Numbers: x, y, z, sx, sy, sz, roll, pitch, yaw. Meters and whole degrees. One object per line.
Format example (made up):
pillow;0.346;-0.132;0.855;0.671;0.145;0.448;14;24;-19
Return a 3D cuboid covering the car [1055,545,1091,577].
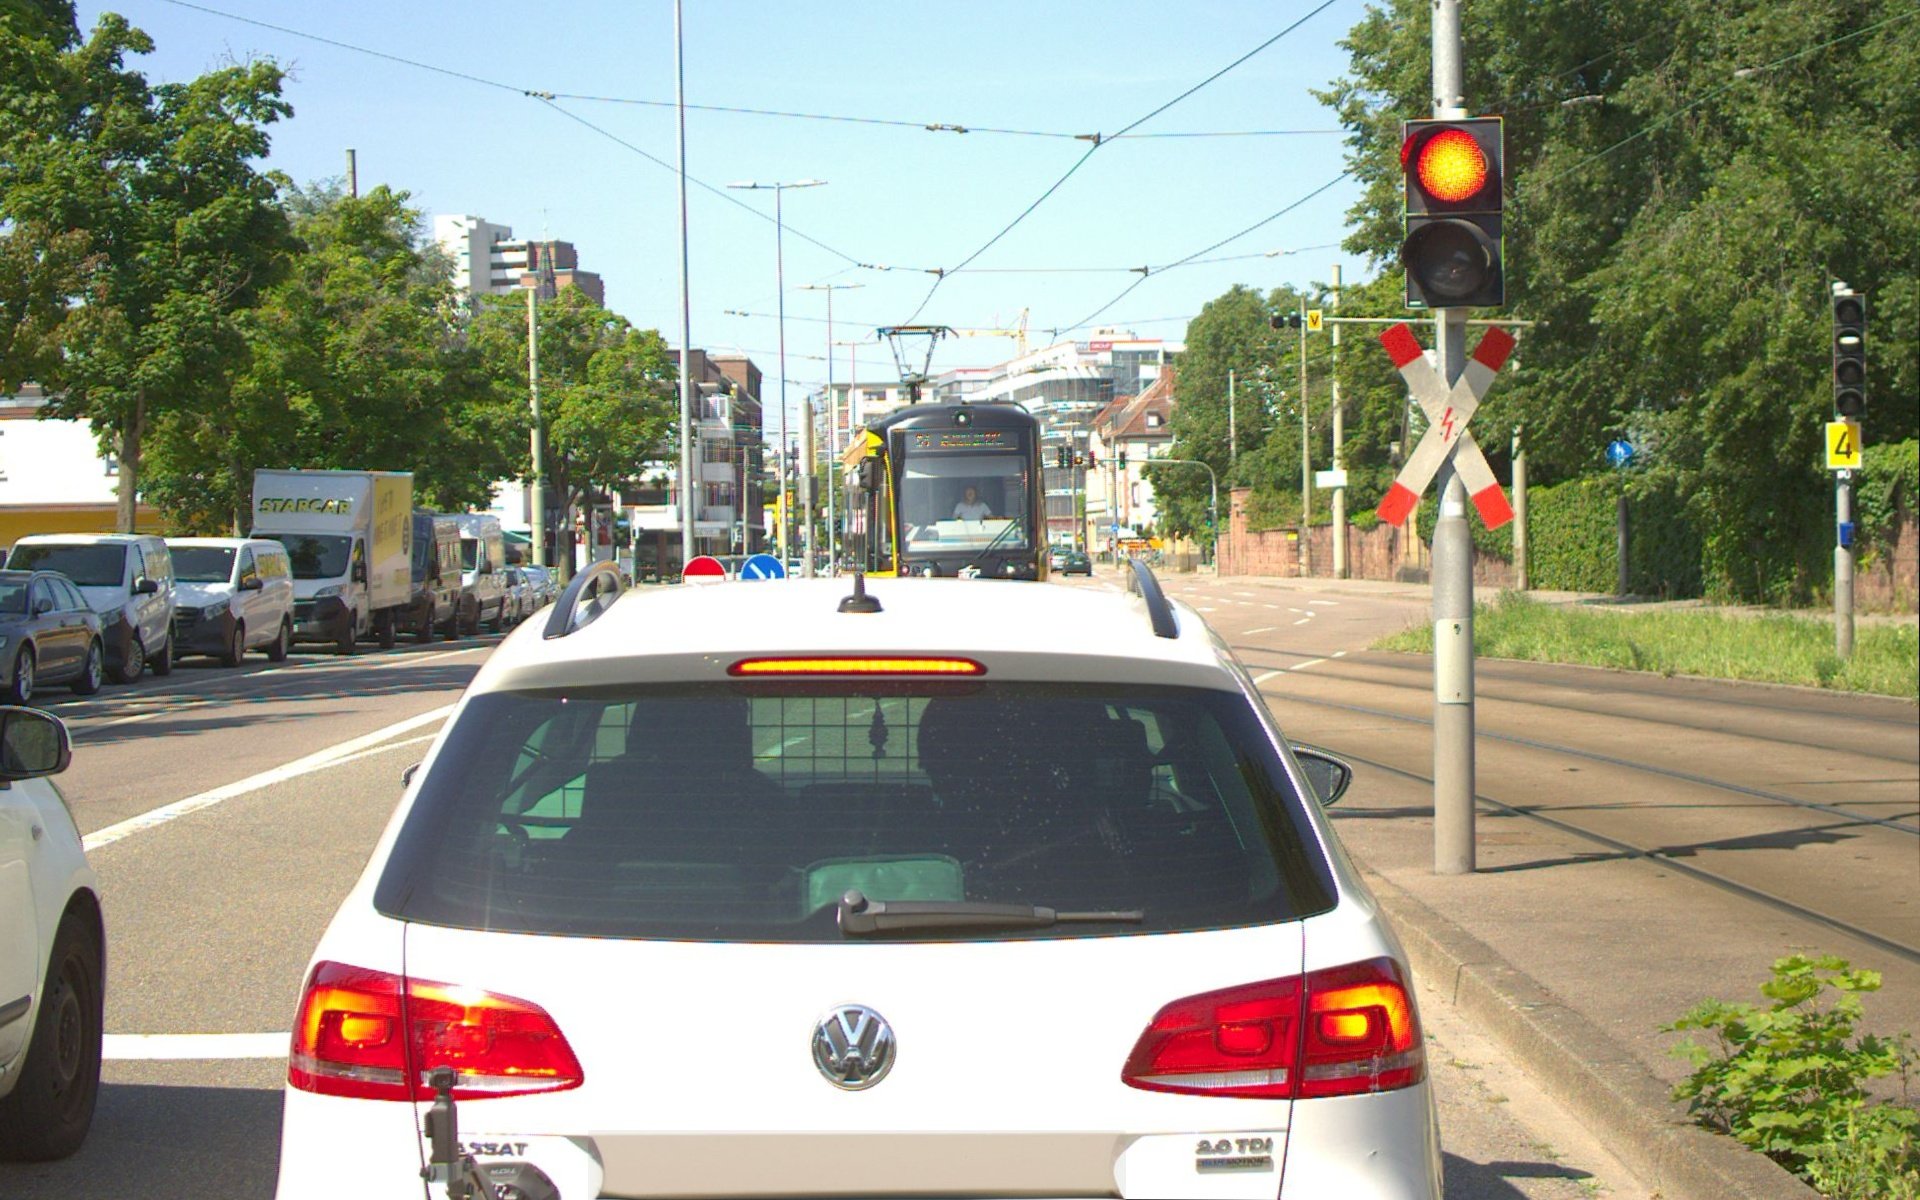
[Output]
car;6.763;-2.358;206.626;1.863;1.861;5.062;1;1;-1

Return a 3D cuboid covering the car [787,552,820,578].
car;-9.463;-2.119;207.717;1.705;1.468;4.589;-1;1;1

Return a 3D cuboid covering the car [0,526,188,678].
car;-11.447;-0.028;45.316;1.863;1.861;5.075;1;1;-6

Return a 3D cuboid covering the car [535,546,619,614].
car;-10.962;-0.601;98.603;1.863;1.861;5.414;1;1;-1

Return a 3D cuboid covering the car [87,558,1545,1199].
car;-0.188;0.673;6.207;1.762;1.425;4.000;-1;1;-1

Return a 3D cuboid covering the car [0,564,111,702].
car;-11.011;0.329;38.746;1.863;1.411;4.280;1;1;-1

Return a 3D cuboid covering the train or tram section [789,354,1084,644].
train or tram section;-0.608;-1.471;52.576;2.870;3.842;12.395;-1;1;-8

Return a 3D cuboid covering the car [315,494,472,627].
car;-11.199;-0.805;68.318;2.123;2.508;5.733;1;1;0

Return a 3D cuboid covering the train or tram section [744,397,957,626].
train or tram section;-2.242;-1.621;64.726;2.870;3.842;12.394;-1;1;-7

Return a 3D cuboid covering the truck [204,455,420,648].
truck;-11.254;-0.867;60.317;2.421;3.139;6.997;1;1;0

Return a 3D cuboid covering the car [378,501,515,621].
car;-11.259;-0.878;75.755;2.123;2.508;5.733;1;1;0

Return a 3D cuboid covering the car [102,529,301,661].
car;-11.381;-0.123;51.903;1.863;1.861;5.414;1;1;-1

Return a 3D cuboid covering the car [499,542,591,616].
car;-11.038;-0.587;91.685;1.863;1.861;5.414;1;1;-1

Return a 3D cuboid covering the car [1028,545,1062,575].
car;5.489;-2.589;222.418;1.863;1.861;5.062;1;1;-1

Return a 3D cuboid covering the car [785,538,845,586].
car;-4.735;-1.267;112.814;1.705;1.468;4.589;-2;1;1

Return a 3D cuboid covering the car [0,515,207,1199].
car;-2.951;0.589;7.341;1.662;1.542;4.547;0;1;0
